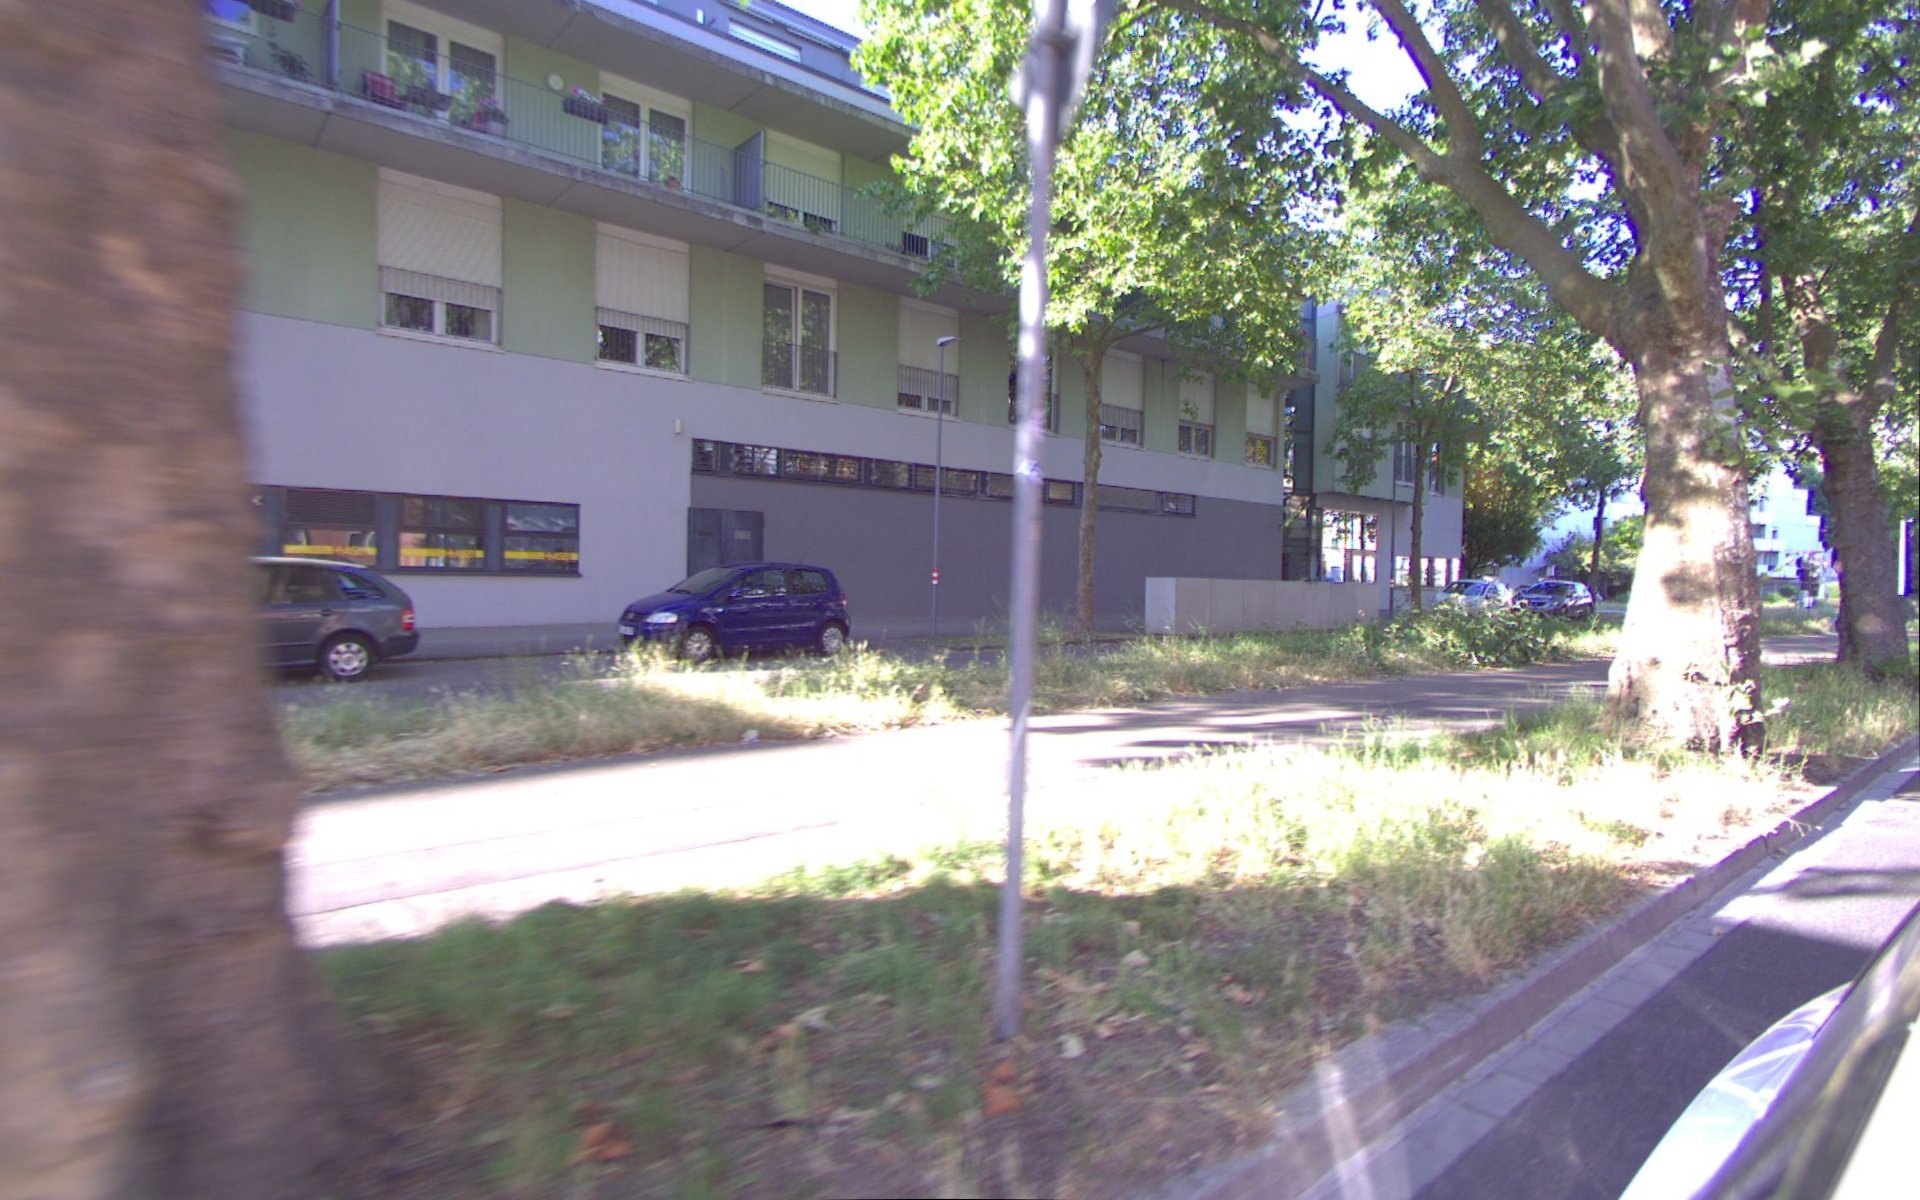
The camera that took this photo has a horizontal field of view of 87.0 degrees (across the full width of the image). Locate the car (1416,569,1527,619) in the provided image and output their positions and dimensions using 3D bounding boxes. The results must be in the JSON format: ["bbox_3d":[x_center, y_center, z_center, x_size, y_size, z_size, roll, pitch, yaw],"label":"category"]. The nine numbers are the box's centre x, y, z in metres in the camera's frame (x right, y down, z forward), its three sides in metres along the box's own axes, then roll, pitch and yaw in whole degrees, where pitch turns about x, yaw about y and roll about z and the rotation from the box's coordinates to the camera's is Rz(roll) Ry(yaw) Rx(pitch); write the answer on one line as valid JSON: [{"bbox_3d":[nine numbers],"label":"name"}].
[{"bbox_3d":[17.393,-0.210,34.354,4.244,1.562,1.863,0,2,-41],"label":"car"}]

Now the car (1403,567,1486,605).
[{"bbox_3d":[31.434,-0.922,65.653,4.946,2.123,2.005,4,0,-24],"label":"car"}]

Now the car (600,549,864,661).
[{"bbox_3d":[-3.598,0.031,16.222,3.693,1.572,1.863,0,2,-40],"label":"car"}]

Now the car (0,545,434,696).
[{"bbox_3d":[-8.639,0.160,11.872,4.054,1.487,1.862,0,2,-43],"label":"car"}]

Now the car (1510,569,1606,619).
[{"bbox_3d":[23.059,-0.261,38.973,4.244,1.793,1.909,0,2,-41],"label":"car"}]

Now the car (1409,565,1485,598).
[{"bbox_3d":[25.475,-0.956,52.933,3.483,1.473,1.679,4,0,-24],"label":"car"}]

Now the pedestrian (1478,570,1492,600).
[{"bbox_3d":[31.832,-0.918,61.345,0.521,1.773,0.561,-1,2,-29],"label":"pedestrian"}]
